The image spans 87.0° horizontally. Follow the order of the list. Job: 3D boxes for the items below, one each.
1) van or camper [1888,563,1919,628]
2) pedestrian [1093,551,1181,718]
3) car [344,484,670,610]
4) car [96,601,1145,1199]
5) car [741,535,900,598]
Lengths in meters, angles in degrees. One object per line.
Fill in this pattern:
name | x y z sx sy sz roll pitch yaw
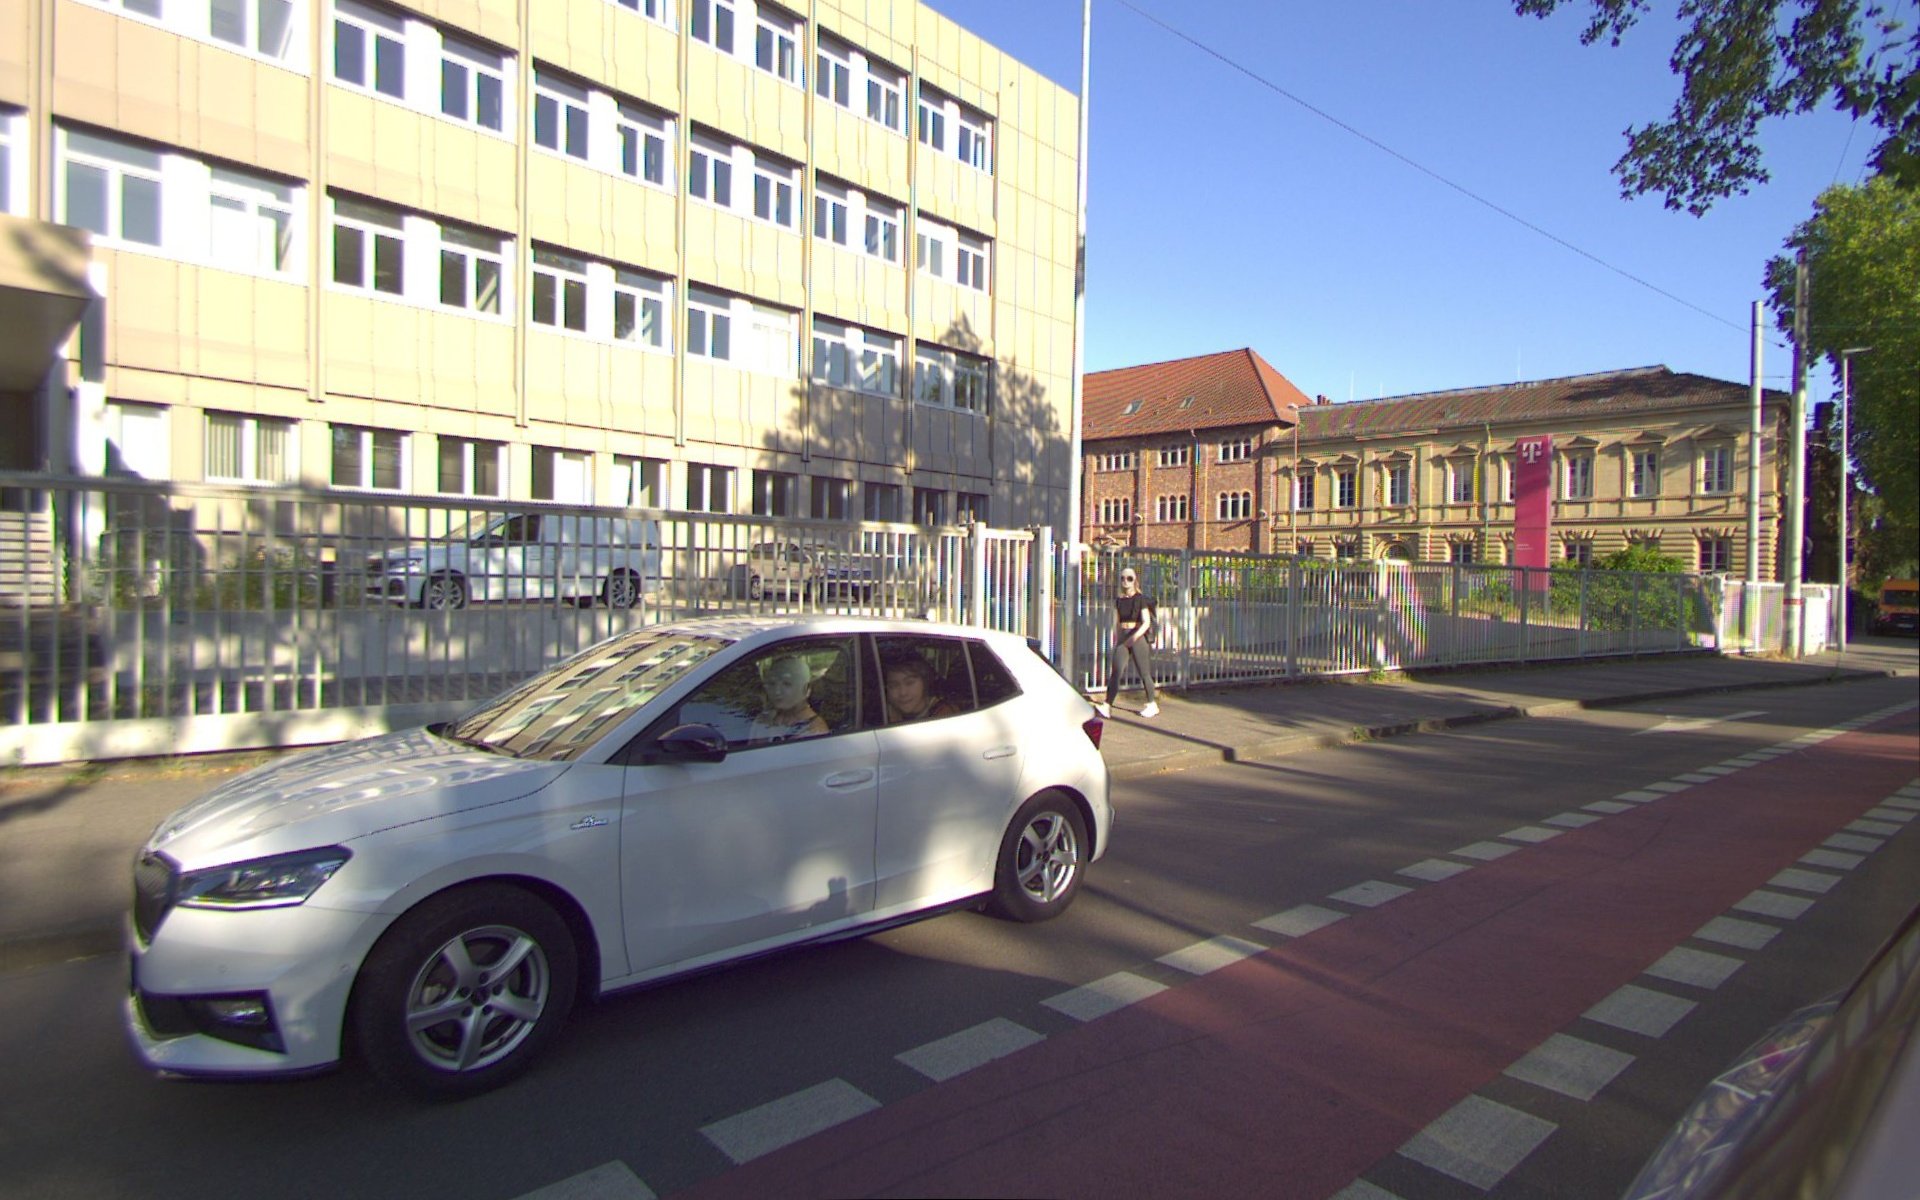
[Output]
van or camper | 41.128 -0.190 43.242 1.994 2.625 5.536 2 2 44
pedestrian | 1.974 0.358 11.263 0.757 1.784 0.592 0 1 -41
car | -7.597 -0.819 17.329 1.994 1.865 4.709 2 2 44
car | -1.104 0.726 4.406 4.005 1.406 1.703 0 0 -42
car | -3.935 -0.915 27.993 4.563 1.601 1.968 2 2 44
